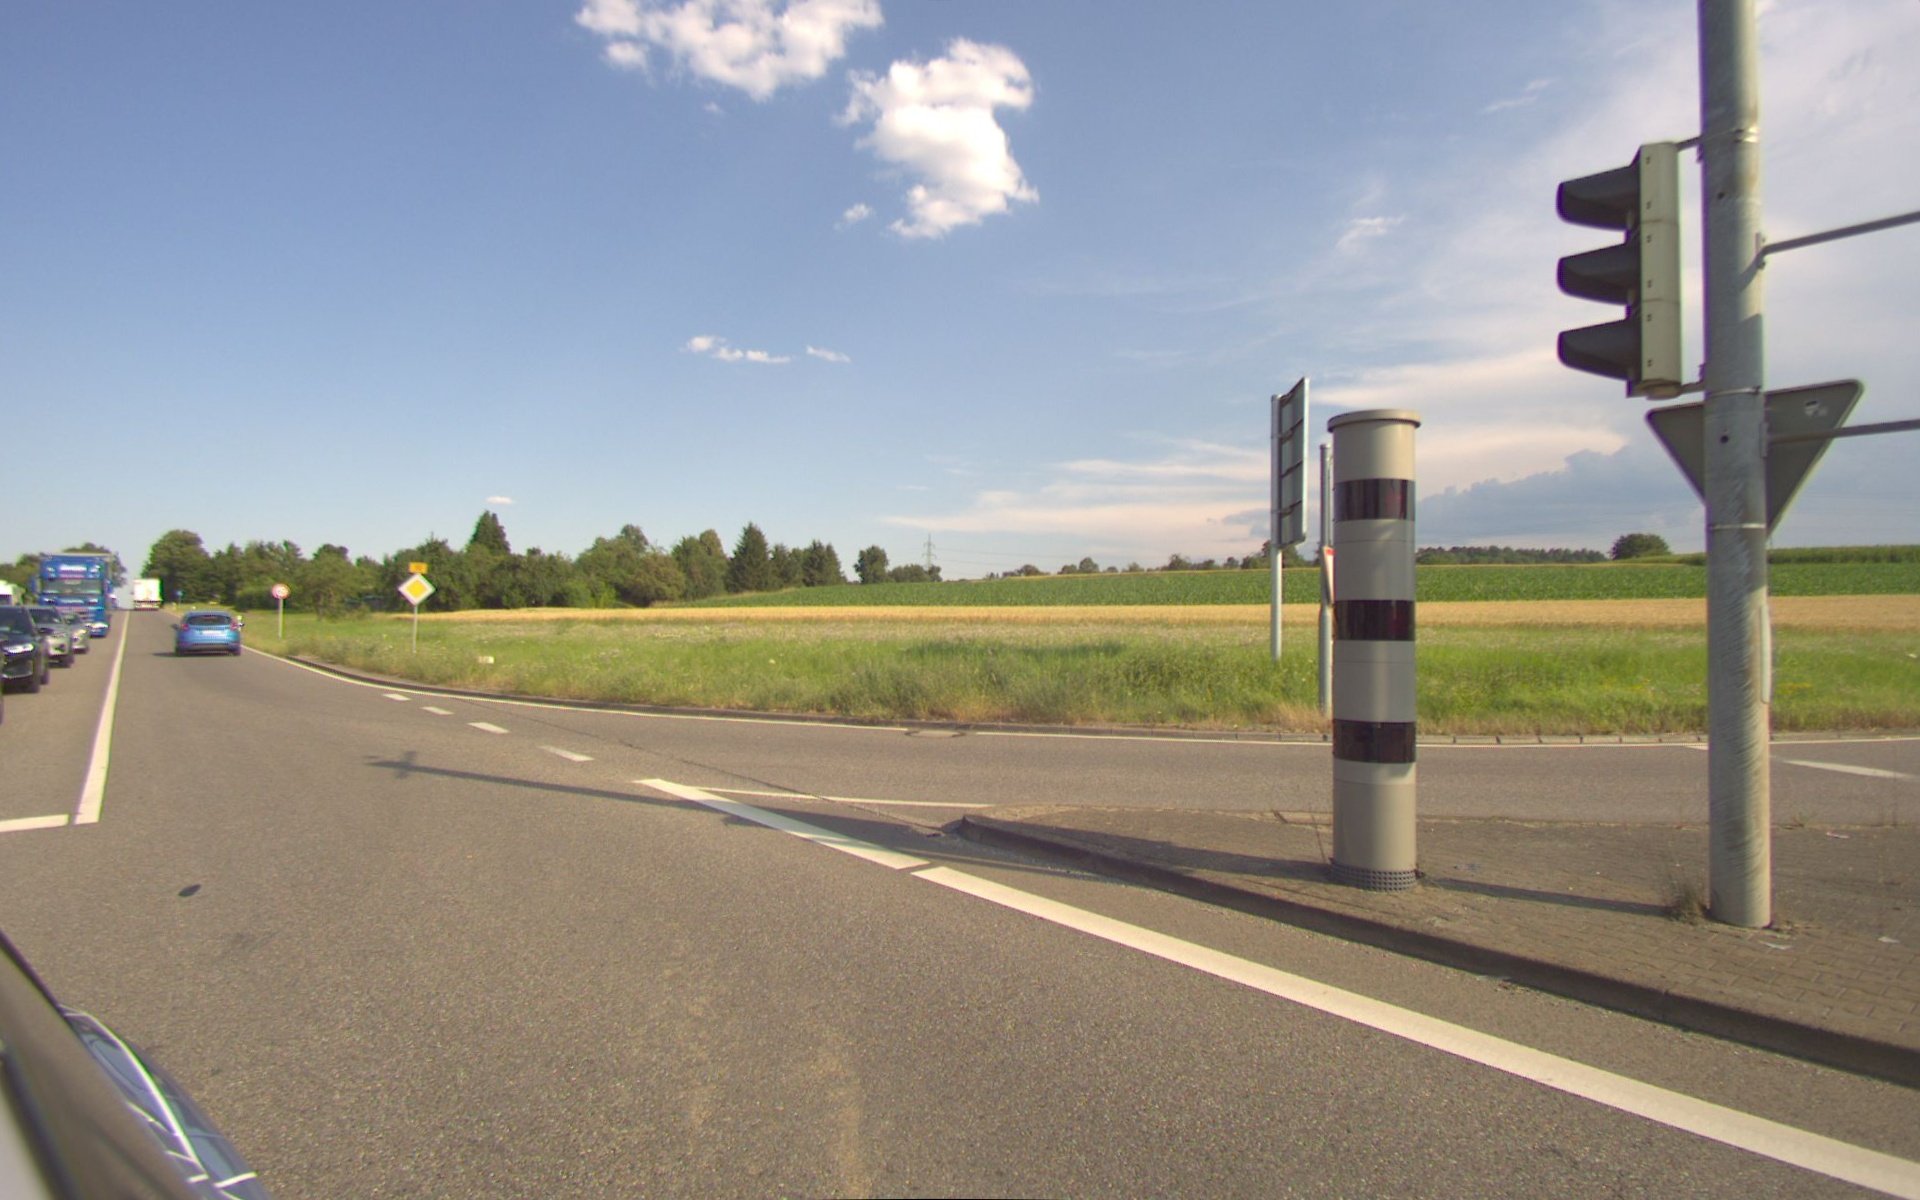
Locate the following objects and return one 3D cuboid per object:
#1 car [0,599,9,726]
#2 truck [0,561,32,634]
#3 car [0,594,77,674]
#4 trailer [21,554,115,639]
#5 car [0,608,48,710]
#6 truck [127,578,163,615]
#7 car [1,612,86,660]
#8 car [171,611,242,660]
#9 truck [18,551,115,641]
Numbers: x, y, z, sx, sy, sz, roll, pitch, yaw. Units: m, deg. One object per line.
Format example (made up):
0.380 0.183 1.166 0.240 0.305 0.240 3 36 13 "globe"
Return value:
-12.464 0.807 11.757 1.761 1.641 4.477 0 0 -40 "car"
-54.734 -0.075 57.320 2.490 3.802 12.922 0 0 -39 "truck"
-24.798 0.865 26.814 1.878 1.962 4.381 -1 0 -38 "car"
-47.340 -0.145 54.028 3.365 4.035 13.772 0 0 -40 "trailer"
-17.270 0.956 17.634 1.748 1.625 4.556 0 0 -38 "car"
-104.561 -0.415 129.724 3.397 4.531 9.503 0 0 -40 "truck"
-30.756 1.157 34.065 1.969 1.497 4.007 0 0 -40 "car"
-24.908 1.171 33.402 1.736 1.512 4.008 1 -2 -38 "car"
-42.855 -0.178 48.721 3.323 4.035 5.611 0 0 -40 "truck"
